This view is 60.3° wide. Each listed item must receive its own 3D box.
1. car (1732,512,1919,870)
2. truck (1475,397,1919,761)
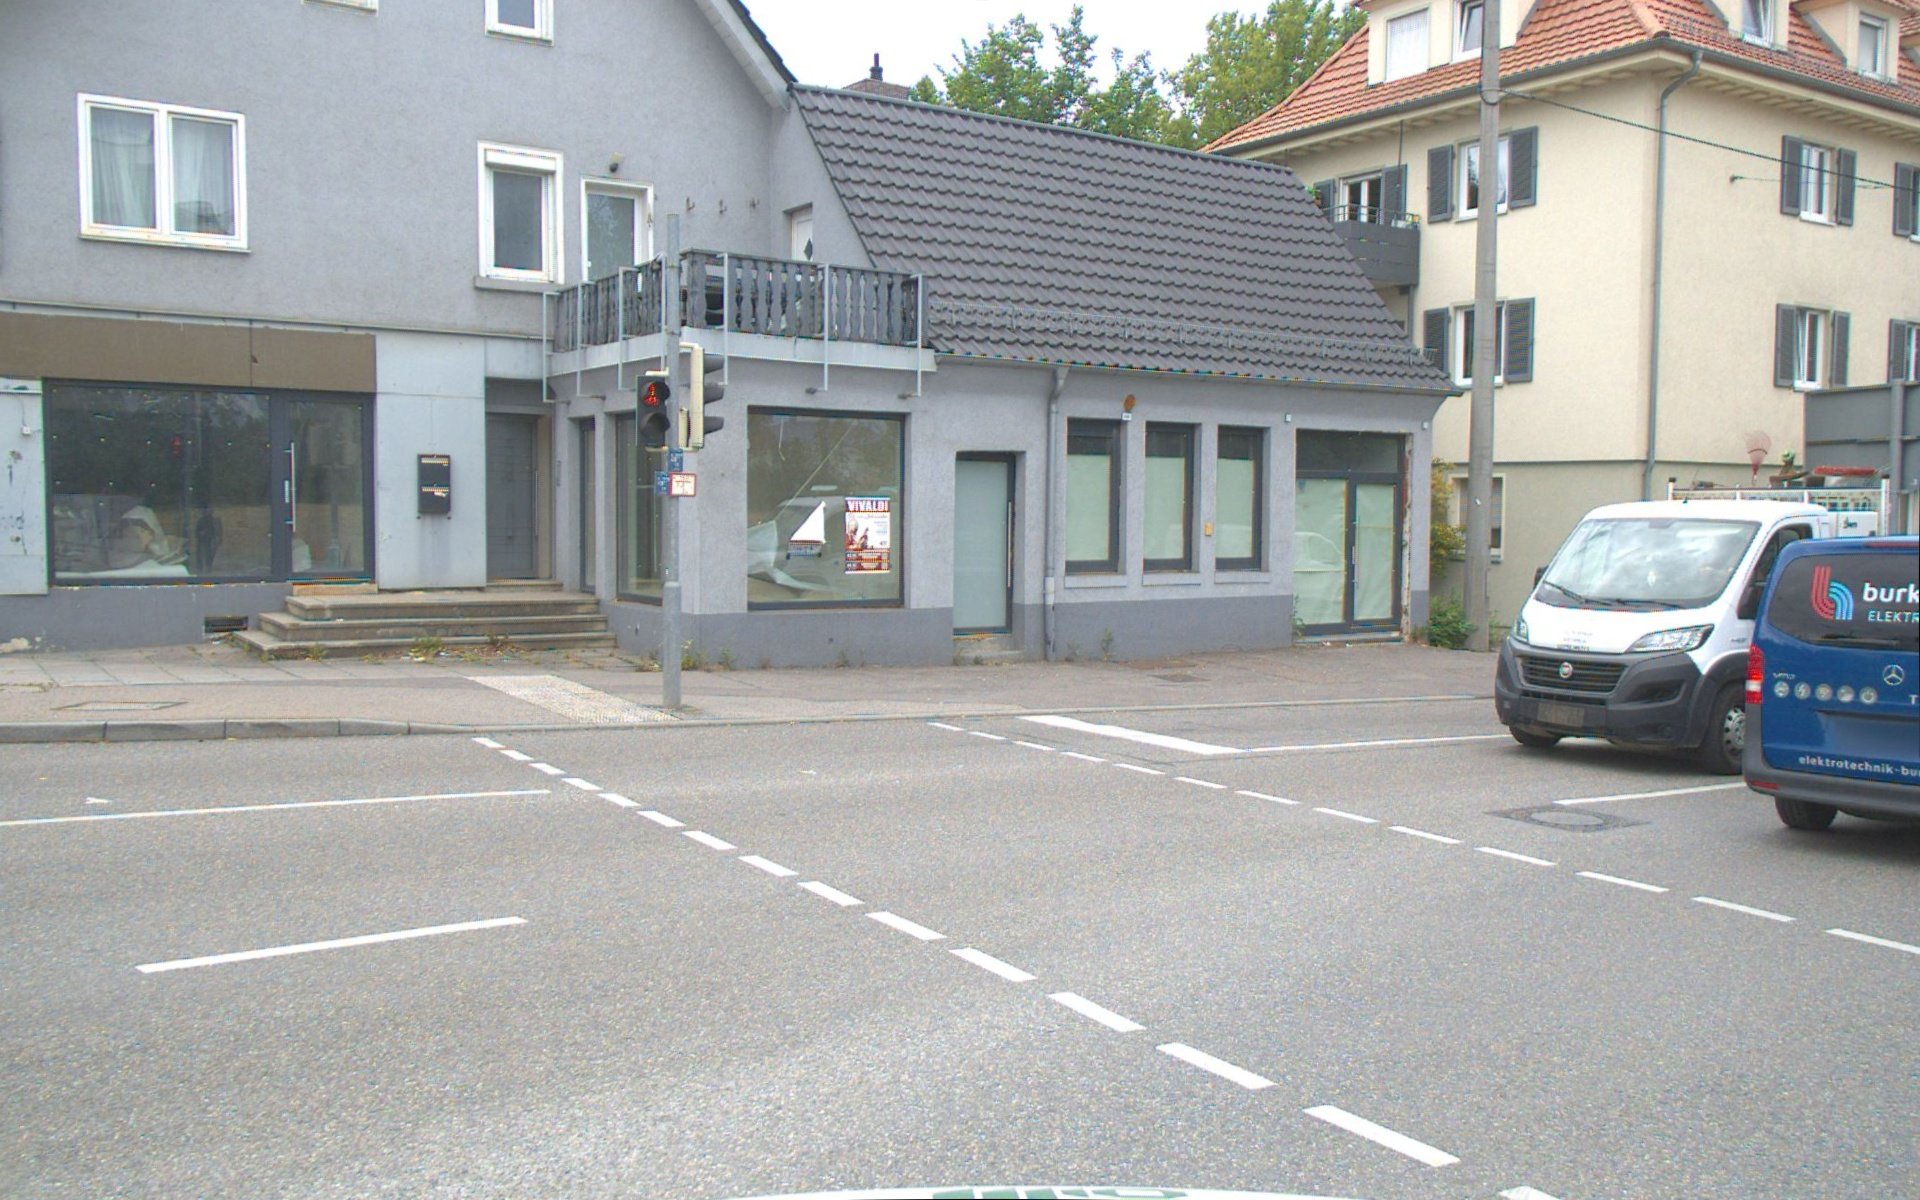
[{"bbox_3d":[6.977,0.477,10.802,4.503,1.999,1.924,-1,2,-42],"label":"car"},{"bbox_3d":[7.583,-0.146,15.062,6.328,2.748,1.977,1,0,-34],"label":"truck"}]
